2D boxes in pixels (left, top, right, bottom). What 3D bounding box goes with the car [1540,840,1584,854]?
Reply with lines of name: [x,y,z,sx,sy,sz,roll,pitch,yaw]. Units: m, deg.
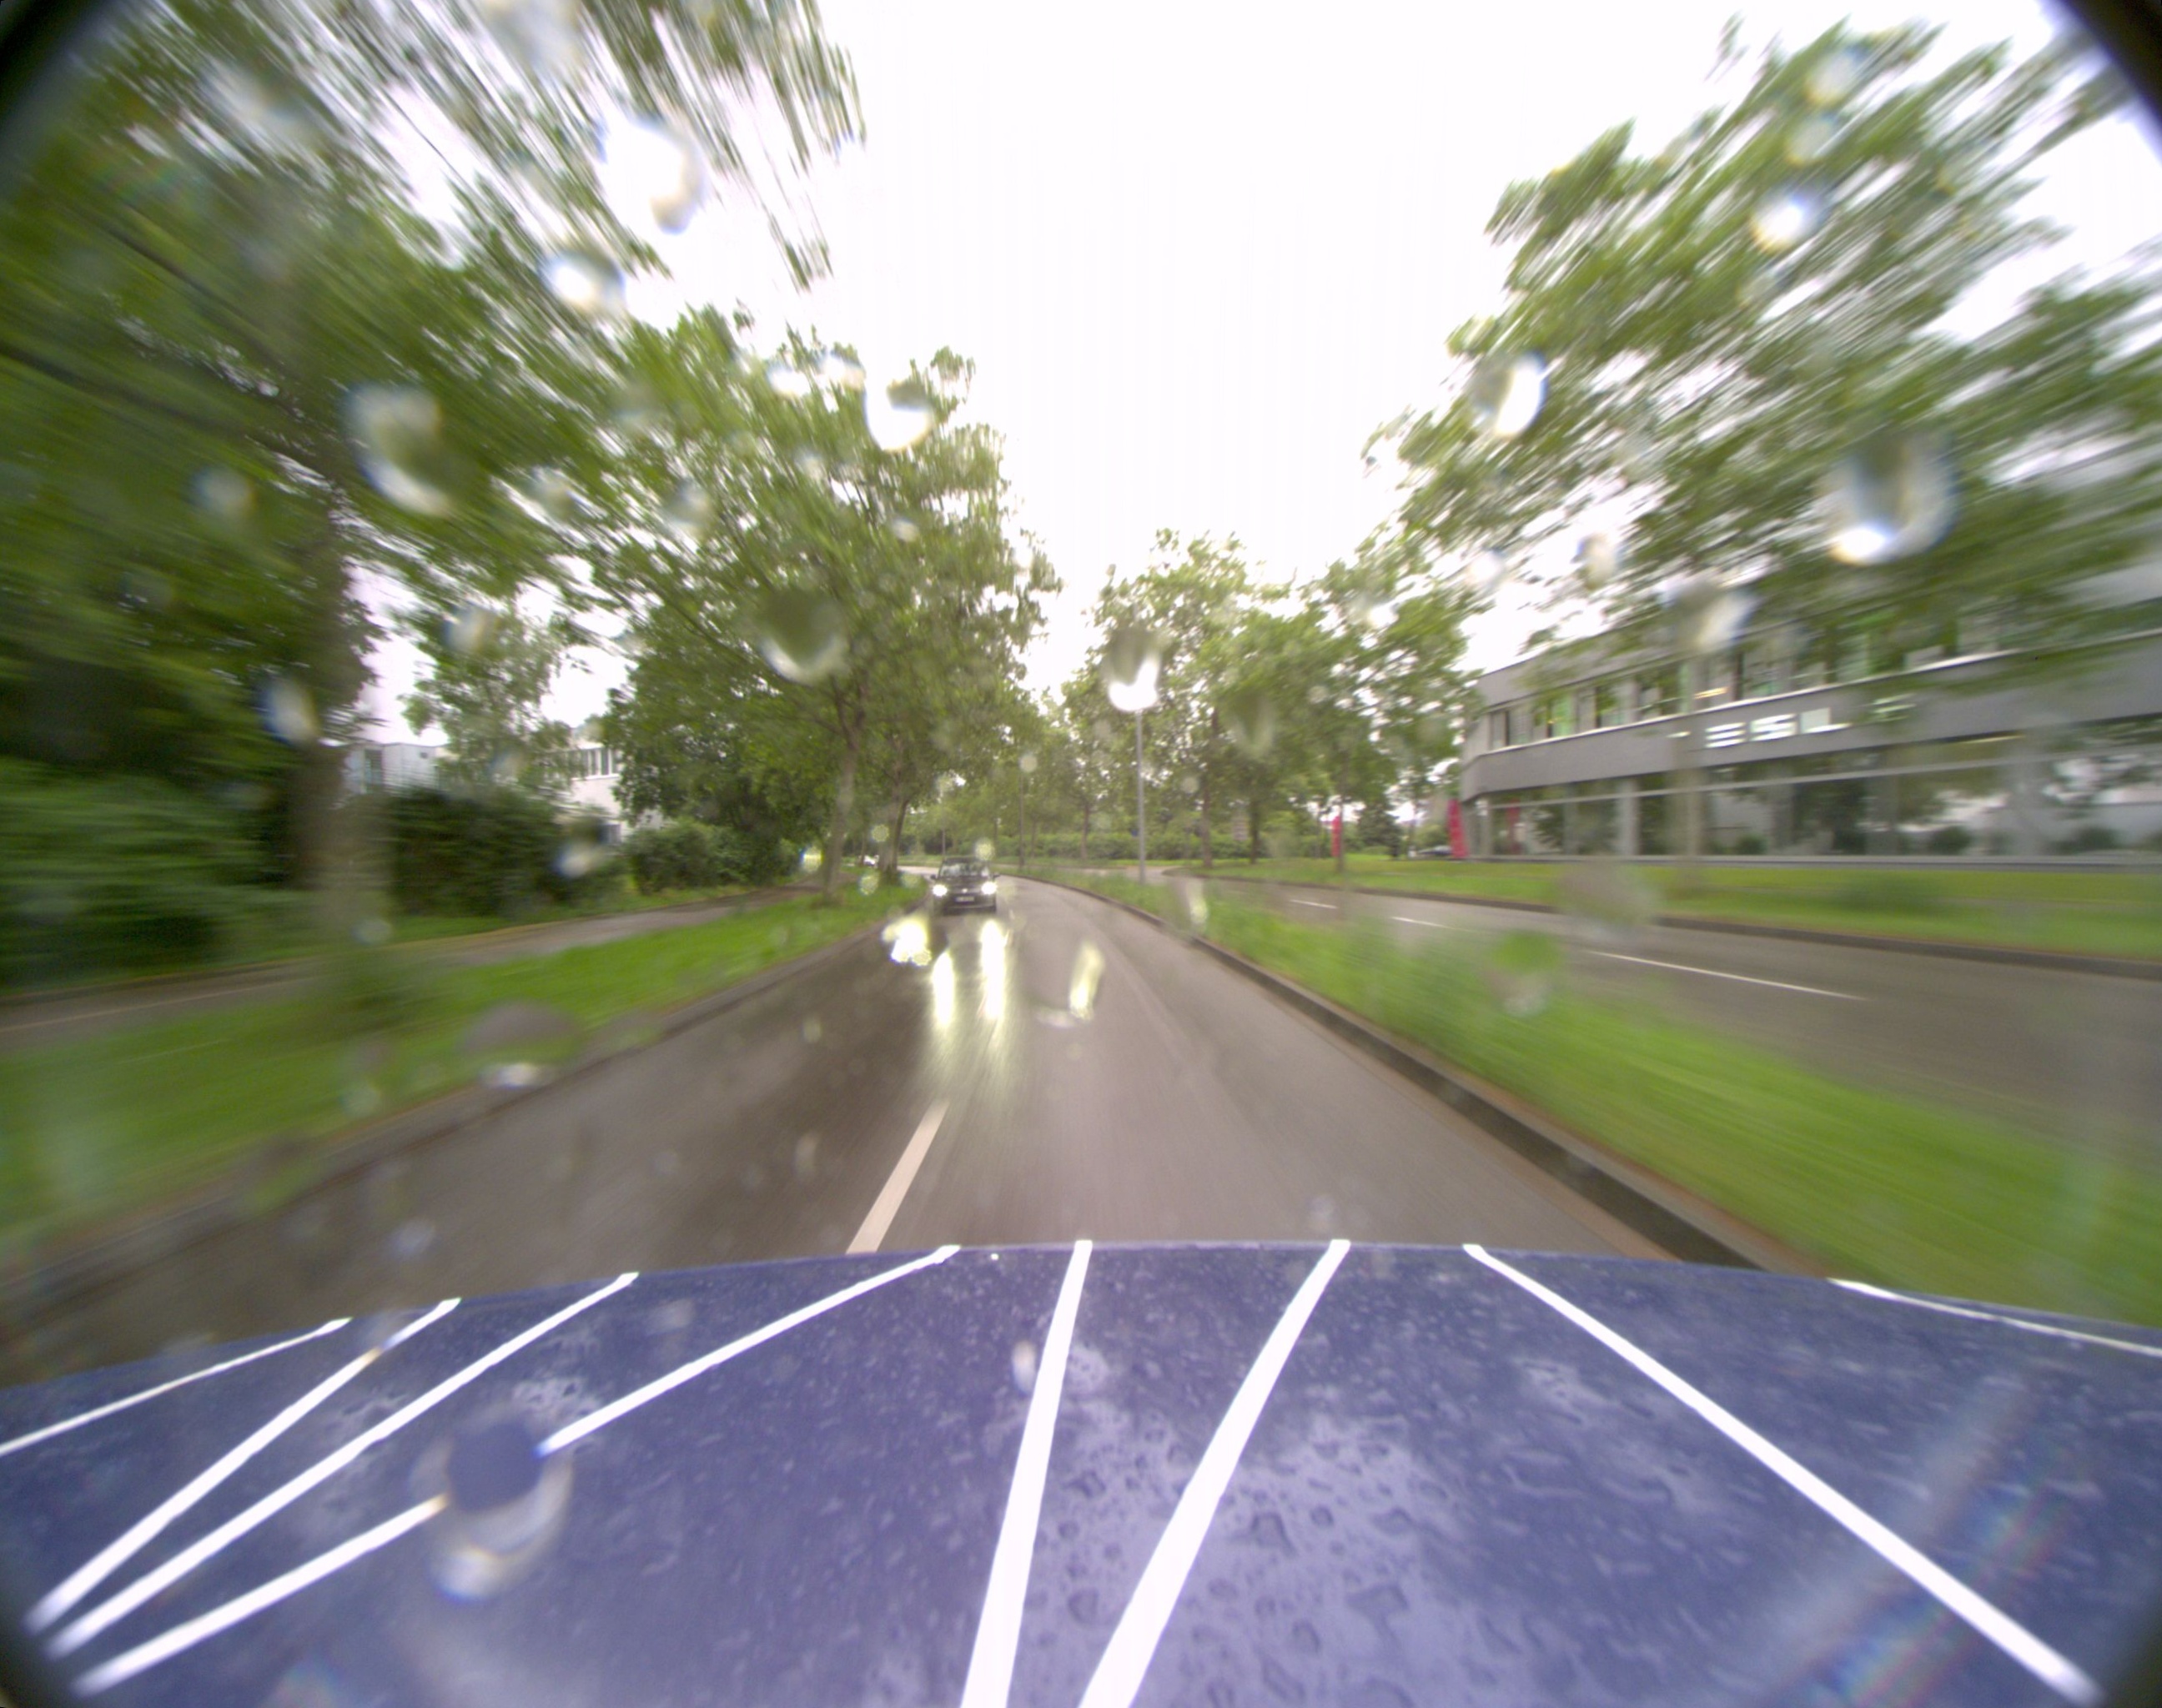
car: [58.652,-0.852,92.661,1.601,1.618,4.194,-2,1,-36]

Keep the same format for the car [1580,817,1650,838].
car: [51.520,-2.554,73.438,1.797,1.853,5.217,-2,1,-37]

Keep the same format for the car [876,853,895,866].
car: [-25.854,0.716,100.547,1.787,1.546,3.992,-1,0,-23]

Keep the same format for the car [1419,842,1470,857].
car: [35.660,-0.417,74.653,1.601,1.350,4.281,-2,1,-36]

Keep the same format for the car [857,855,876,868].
car: [-27.107,0.956,95.884,1.787,1.546,3.992,-1,0,-23]

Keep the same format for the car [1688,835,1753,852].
car: [56.917,-0.919,67.659,1.601,1.486,4.193,-2,1,-38]

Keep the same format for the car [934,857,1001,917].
car: [-3.364,0.931,23.068,1.785,1.546,3.997,-3,1,-6]

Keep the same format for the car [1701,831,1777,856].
car: [52.002,-0.826,60.157,4.196,1.803,1.820,-1,1,18]
